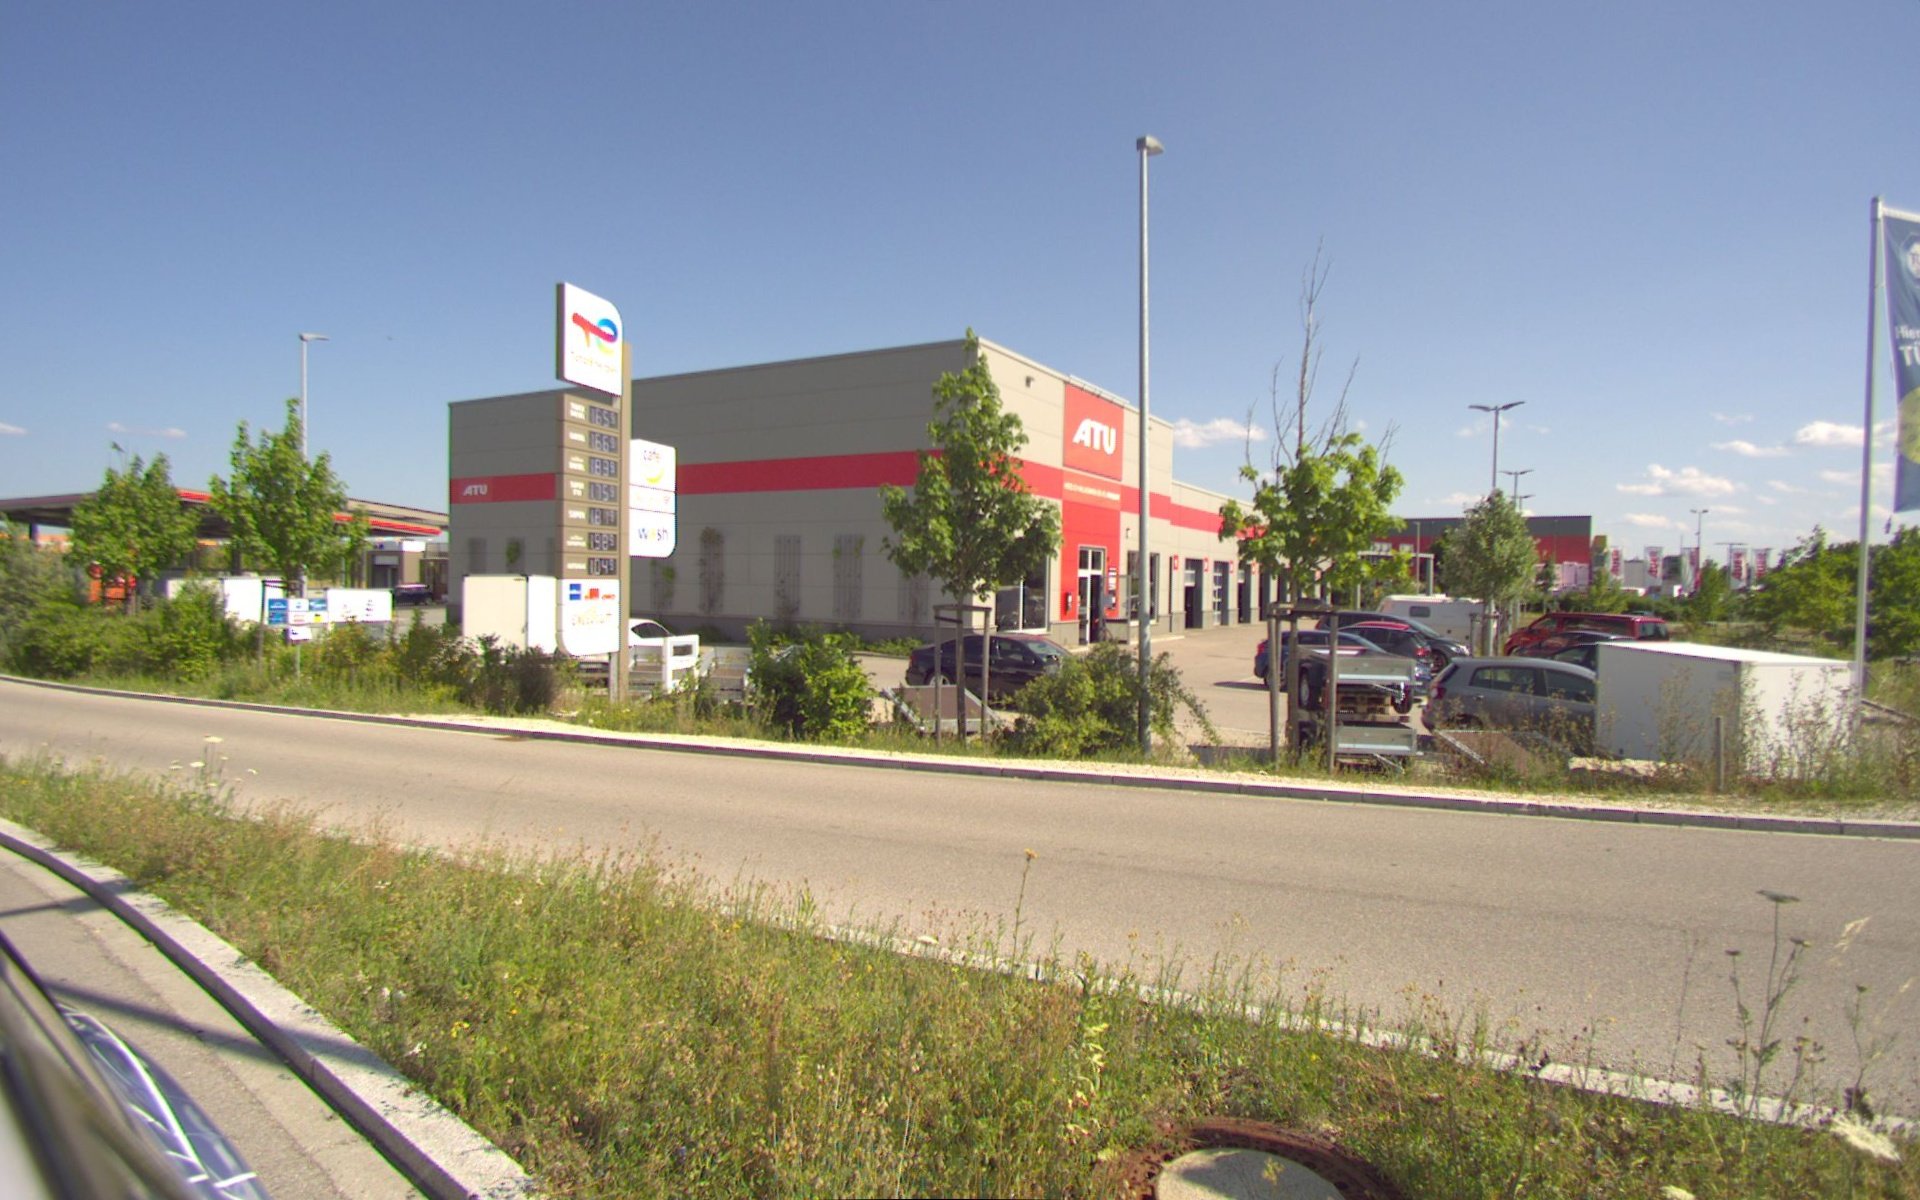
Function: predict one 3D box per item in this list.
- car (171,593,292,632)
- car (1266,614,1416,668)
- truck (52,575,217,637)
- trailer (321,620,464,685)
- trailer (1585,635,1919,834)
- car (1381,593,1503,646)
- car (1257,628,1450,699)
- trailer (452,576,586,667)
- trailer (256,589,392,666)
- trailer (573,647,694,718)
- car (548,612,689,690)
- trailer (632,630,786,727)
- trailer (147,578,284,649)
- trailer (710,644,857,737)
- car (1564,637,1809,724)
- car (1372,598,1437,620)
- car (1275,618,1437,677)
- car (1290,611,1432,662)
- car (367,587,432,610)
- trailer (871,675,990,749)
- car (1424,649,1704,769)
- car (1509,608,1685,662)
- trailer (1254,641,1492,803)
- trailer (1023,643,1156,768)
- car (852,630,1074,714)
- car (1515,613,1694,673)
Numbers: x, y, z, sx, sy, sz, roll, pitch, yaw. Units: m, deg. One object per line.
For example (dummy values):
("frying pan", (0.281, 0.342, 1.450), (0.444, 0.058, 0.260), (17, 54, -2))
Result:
("car", (-35.668, 0.564, 49.662), (1.788, 1.771, 4.477), (0, 1, 29))
("car", (11.616, 1.191, 30.930), (3.990, 1.475, 1.804), (0, 1, 35))
("truck", (-46.923, 0.268, 57.754), (2.629, 3.343, 6.842), (0, 1, 27))
("trailer", (-15.226, 1.364, 27.368), (1.580, 1.521, 3.593), (-1, 1, 6))
("trailer", (9.716, 1.467, 12.386), (1.782, 1.785, 3.698), (-1, 2, -1))
("car", (19.395, 0.755, 40.754), (4.332, 2.029, 1.884), (0, 1, 30))
("car", (9.130, 1.418, 23.518), (3.983, 1.475, 1.807), (0, -2, 29))
("trailer", (-10.502, 0.461, 24.348), (1.724, 2.029, 3.238), (0, 1, 2))
("trailer", (-17.682, 0.721, 28.270), (1.976, 2.029, 2.732), (0, 1, 6))
("trailer", (-6.155, 1.530, 19.315), (1.303, 1.094, 2.773), (0, 1, 3))
("car", (-7.842, 1.120, 23.641), (1.697, 1.548, 3.995), (0, 1, 4))
("trailer", (-4.553, 1.375, 18.785), (1.533, 1.495, 3.179), (0, 1, 12))
("trailer", (-22.471, 0.365, 30.700), (1.969, 2.029, 3.211), (-1, 1, -6))
("trailer", (-3.036, 1.524, 17.887), (1.378, 1.332, 2.895), (0, 1, 18))
("car", (16.003, 1.709, 22.542), (1.794, 1.475, 4.014), (2, 1, -25))
("car", (47.464, 0.954, 108.172), (2.005, 2.251, 6.293), (-1, 1, -31))
("car", (11.204, 1.284, 28.692), (3.990, 1.475, 1.804), (0, 1, 35))
("car", (12.972, 1.137, 32.783), (3.990, 1.475, 1.804), (0, 1, 35))
("car", (-39.522, -0.113, 71.367), (1.694, 1.586, 3.637), (0, 1, 40))
("trailer", (-0.443, 1.840, 17.083), (1.841, 0.888, 2.837), (0, 1, 1))
("car", (9.690, 1.669, 16.455), (3.731, 1.563, 1.725), (0, 1, 32))
("car", (20.054, 1.052, 32.105), (1.794, 1.475, 4.470), (-1, 1, -25))
("trailer", (5.625, 1.578, 14.303), (1.782, 1.785, 3.697), (0, 1, -1))
("trailer", (2.029, 1.639, 16.803), (1.684, 1.462, 3.698), (0, 3, -1))
("car", (0.012, 1.439, 21.398), (4.486, 1.495, 1.783), (0, 1, 35))
("car", (18.478, 1.179, 29.218), (1.794, 1.475, 4.013), (-1, 1, -25))
